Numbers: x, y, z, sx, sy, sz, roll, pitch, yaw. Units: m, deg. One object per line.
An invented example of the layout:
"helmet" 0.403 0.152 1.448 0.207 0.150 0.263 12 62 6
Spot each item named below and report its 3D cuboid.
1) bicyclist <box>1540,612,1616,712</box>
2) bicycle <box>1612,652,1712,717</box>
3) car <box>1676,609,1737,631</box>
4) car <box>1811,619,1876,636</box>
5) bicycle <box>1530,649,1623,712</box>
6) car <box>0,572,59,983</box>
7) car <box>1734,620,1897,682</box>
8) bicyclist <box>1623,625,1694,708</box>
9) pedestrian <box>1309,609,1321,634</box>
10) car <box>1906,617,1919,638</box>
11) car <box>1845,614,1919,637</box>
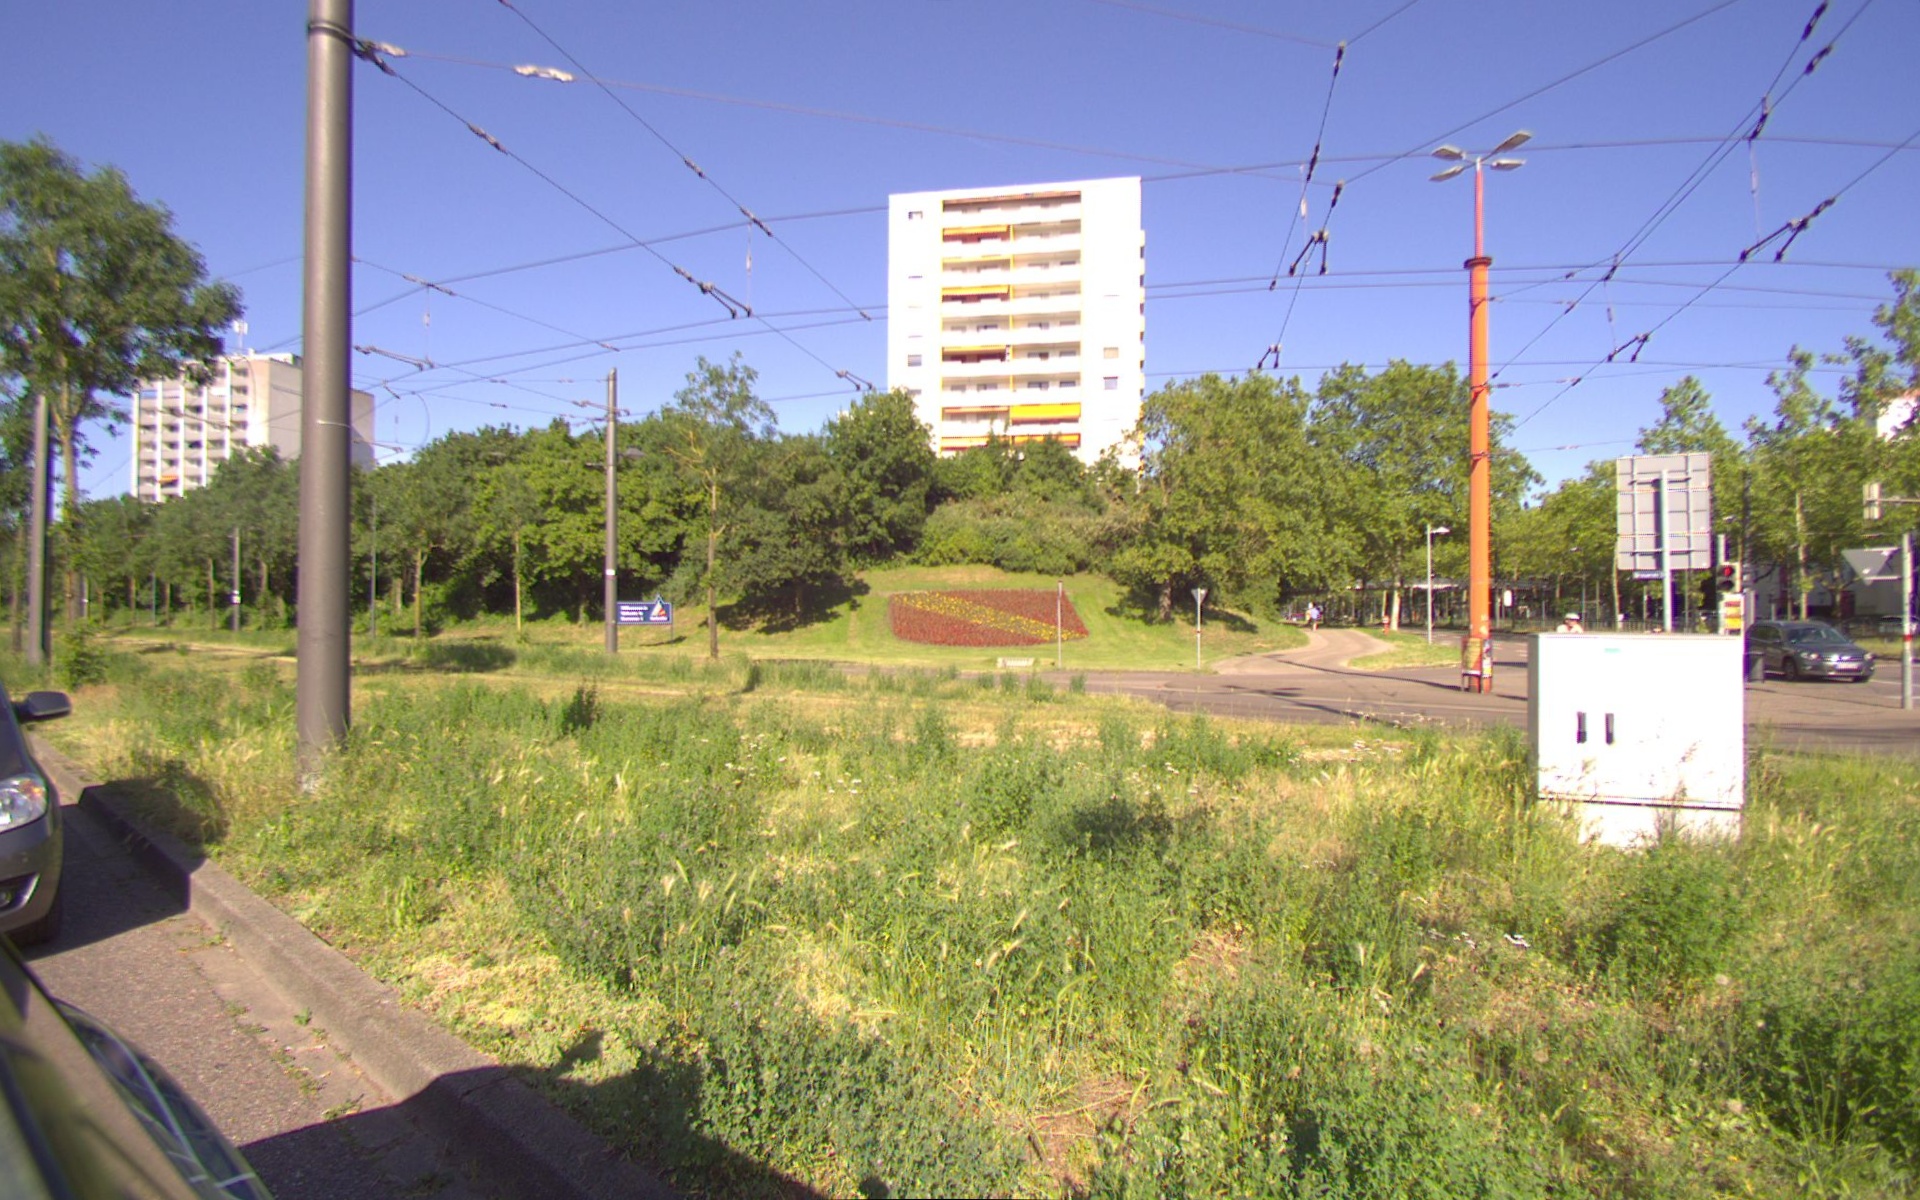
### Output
"bicyclist" 12.116 1.197 19.865 0.880 1.881 0.924 -1 0 -2
"bicycle" 13.505 1.600 19.529 0.571 1.079 1.916 -1 0 0
"car" 72.145 1.949 97.863 1.909 1.999 4.350 1 -2 -38
"car" 64.407 1.997 73.837 1.425 1.197 3.423 -1 0 -41
"bicycle" 12.070 1.553 19.882 0.571 1.079 1.917 -1 0 -3
"car" -5.824 0.756 4.883 3.998 1.652 1.726 -1 0 41
"car" 23.777 1.370 28.338 1.900 1.507 4.026 -1 0 15
"bicyclist" 13.492 1.270 19.579 0.710 1.536 0.924 -1 0 0
"pedestrian" 23.444 1.414 66.841 0.682 1.568 0.983 -1 0 23
"car" 63.688 1.785 65.154 1.472 1.341 3.746 -1 0 -27
"car" 63.803 1.751 69.986 1.589 1.471 3.656 -1 0 -38
